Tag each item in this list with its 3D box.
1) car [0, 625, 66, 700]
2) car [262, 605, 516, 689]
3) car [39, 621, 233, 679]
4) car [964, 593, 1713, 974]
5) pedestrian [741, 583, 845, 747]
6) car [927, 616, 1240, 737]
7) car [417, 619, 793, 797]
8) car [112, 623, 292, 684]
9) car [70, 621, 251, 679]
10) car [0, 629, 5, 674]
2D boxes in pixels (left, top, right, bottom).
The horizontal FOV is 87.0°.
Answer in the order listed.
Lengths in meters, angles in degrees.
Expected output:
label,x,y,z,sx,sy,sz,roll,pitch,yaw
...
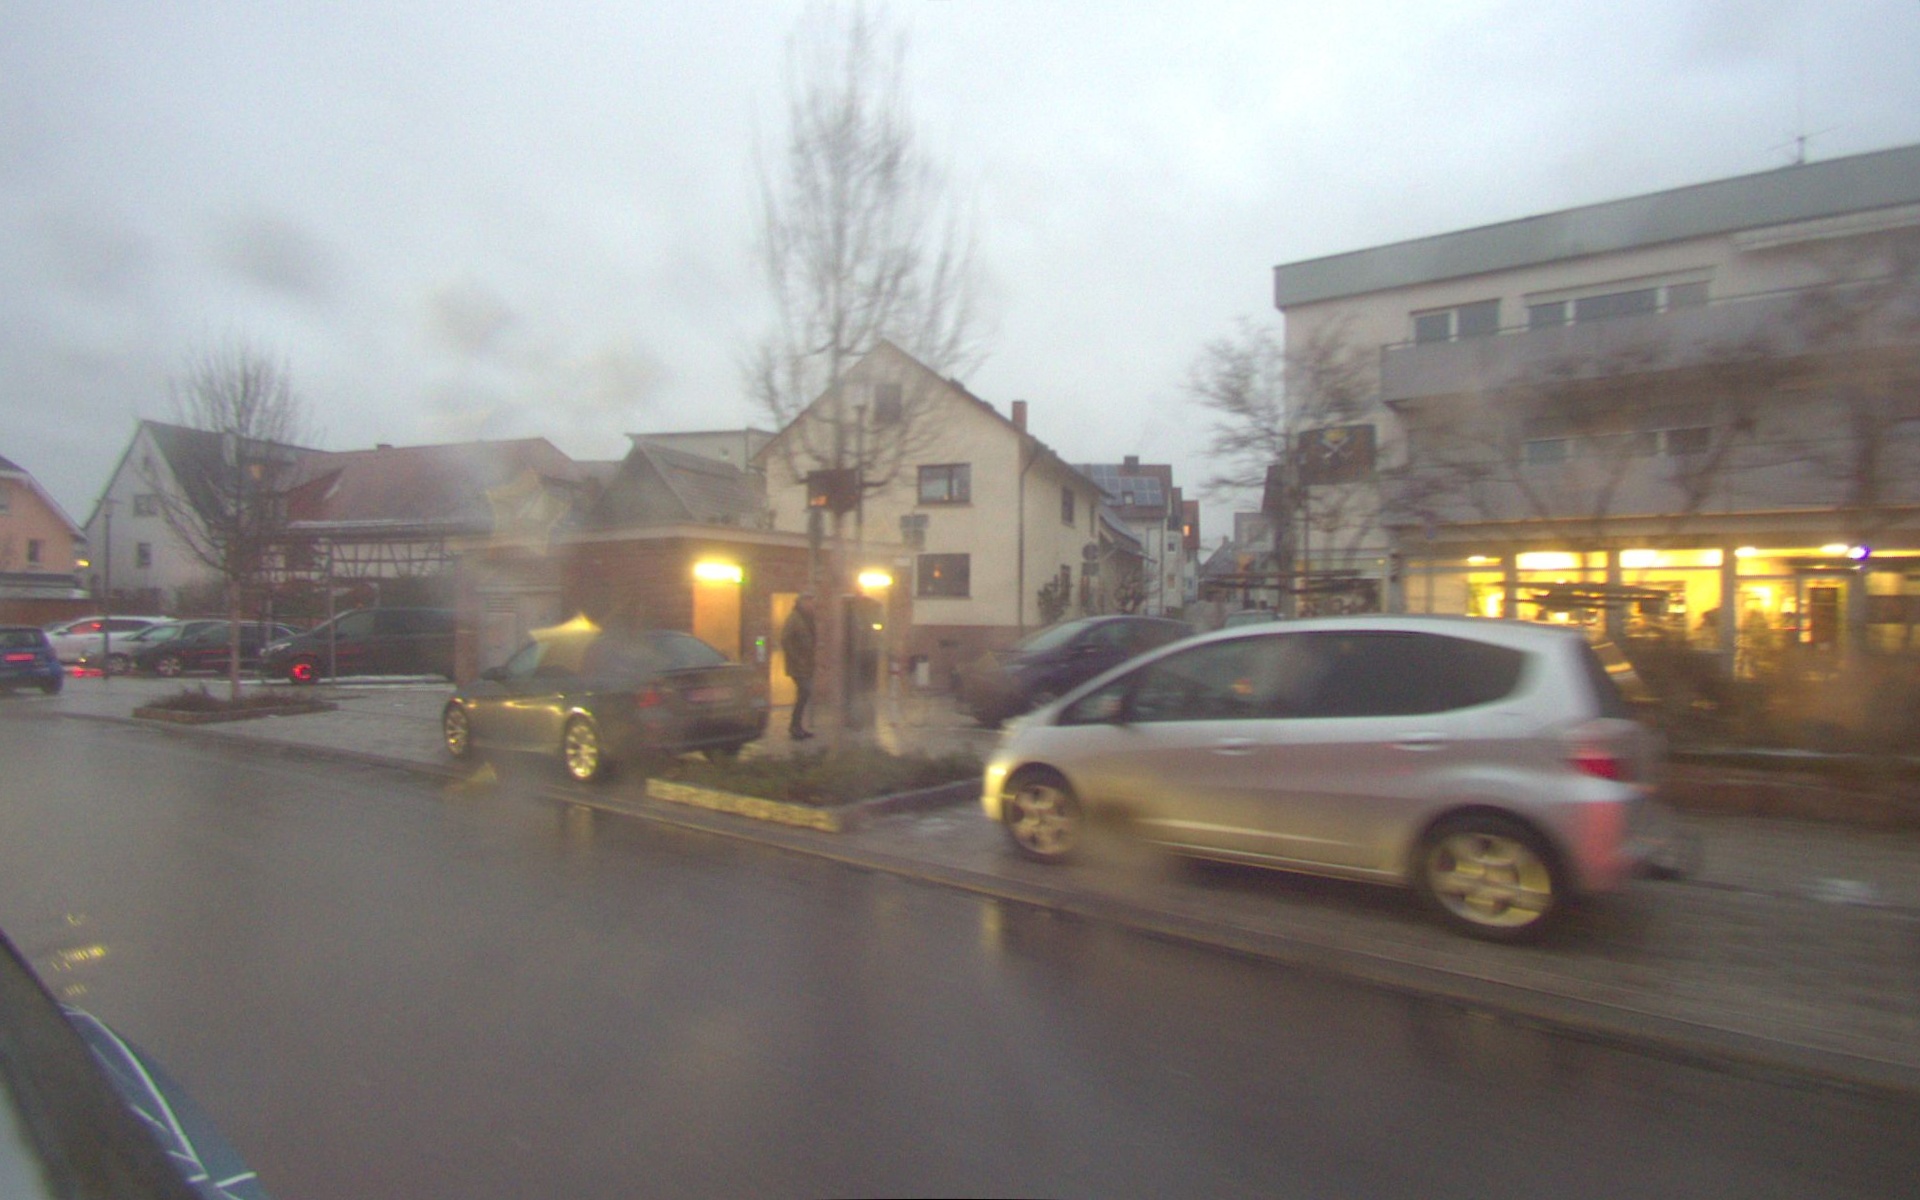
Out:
label,x,y,z,sx,sy,sz,roll,pitch,yaw
car,-21.435,1.331,22.104,3.661,1.547,1.820,-1,-1,30
car,-14.149,1.167,25.264,5.307,1.900,2.079,2,-3,-34
car,-25.702,1.510,31.724,4.583,1.666,1.991,1,-2,-41
car,2.022,0.766,5.926,3.768,1.528,1.676,-1,0,39
pedestrian,-2.029,0.757,12.255,1.060,1.881,0.746,-2,-2,42
car,1.736,1.017,14.131,4.018,1.488,1.745,1,-3,-26
car,-3.910,0.970,10.744,4.454,1.483,1.729,-1,-1,40
car,-21.239,1.451,28.522,3.934,1.541,2.005,0,-1,-36
car,-23.511,1.465,29.859,4.049,1.594,1.723,2,-3,-40
car,-33.781,1.702,32.818,1.758,1.470,4.014,-1,-2,44
